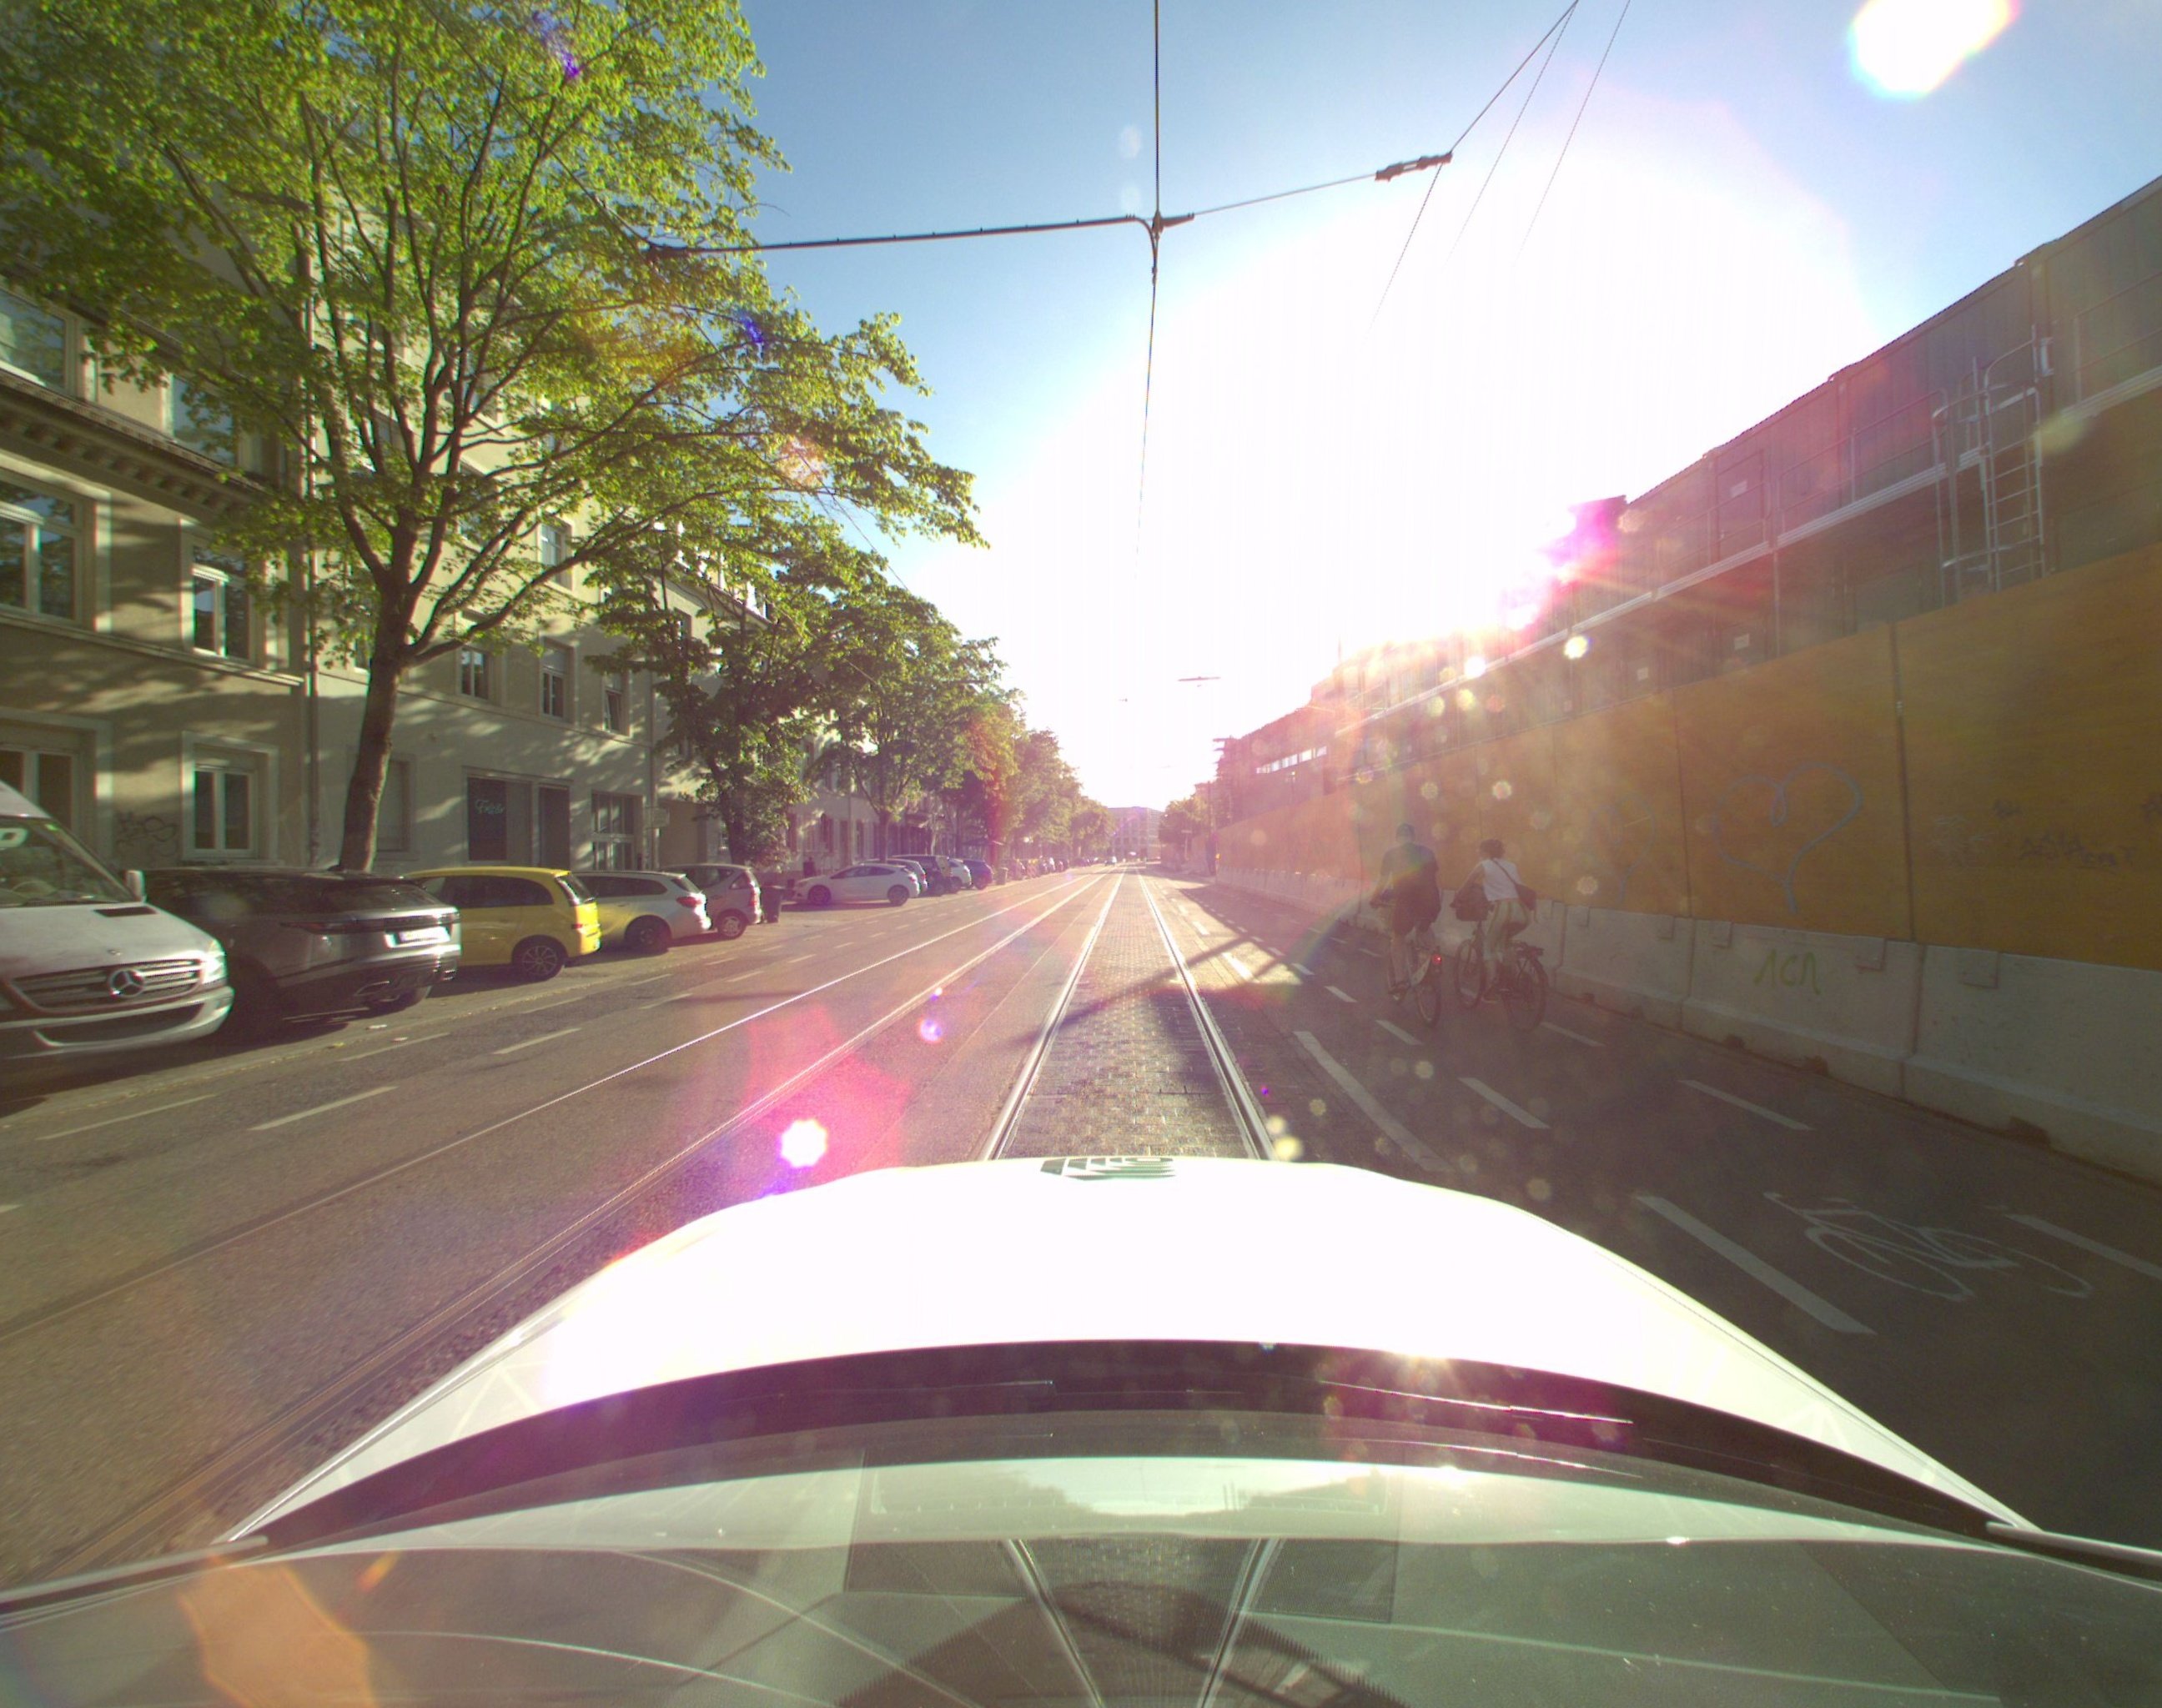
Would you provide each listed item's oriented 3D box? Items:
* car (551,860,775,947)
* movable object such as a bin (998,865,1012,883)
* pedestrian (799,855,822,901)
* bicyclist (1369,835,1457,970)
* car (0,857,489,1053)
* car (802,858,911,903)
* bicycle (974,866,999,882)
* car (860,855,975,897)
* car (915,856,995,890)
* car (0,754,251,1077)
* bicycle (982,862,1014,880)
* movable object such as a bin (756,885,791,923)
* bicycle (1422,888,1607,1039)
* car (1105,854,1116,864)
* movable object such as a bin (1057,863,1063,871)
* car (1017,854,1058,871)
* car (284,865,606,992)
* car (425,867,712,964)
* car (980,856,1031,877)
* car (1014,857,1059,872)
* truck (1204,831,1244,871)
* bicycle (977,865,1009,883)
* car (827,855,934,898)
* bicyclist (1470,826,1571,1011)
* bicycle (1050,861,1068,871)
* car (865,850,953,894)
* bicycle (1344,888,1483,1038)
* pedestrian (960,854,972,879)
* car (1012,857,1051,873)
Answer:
[{"bbox_3d":[-8.855,0.999,17.606,3.993,1.676,1.694,-1,0,-15],"label":"car"},{"bbox_3d":[-4.709,1.260,50.531,0.680,1.078,0.711,2,0,5],"label":"movable object such as a bin"},{"bbox_3d":[-11.020,0.962,33.191,0.640,1.838,0.625,-2,0,5],"label":"pedestrian"},{"bbox_3d":[3.168,0.452,7.791,0.649,1.238,0.354,-2,0,1],"label":"bicyclist"},{"bbox_3d":[-9.426,0.953,8.543,4.811,1.724,2.164,-1,0,1],"label":"car"},{"bbox_3d":[-8.084,0.946,29.385,3.644,1.530,1.876,1,-1,-17],"label":"car"},{"bbox_3d":[-5.937,1.273,51.179,1.598,0.988,0.388,0,0,-8],"label":"bicycle"},{"bbox_3d":[-7.794,1.032,38.987,4.961,1.794,2.185,-1,0,-35],"label":"car"},{"bbox_3d":[-6.752,0.987,43.864,3.918,1.609,1.557,-2,0,-34],"label":"car"},{"bbox_3d":[-9.279,0.447,5.832,4.421,2.118,2.164,-1,0,1],"label":"car"},{"bbox_3d":[-5.509,1.120,54.172,1.993,1.087,0.568,3,0,5],"label":"bicycle"},{"bbox_3d":[-8.017,1.297,21.263,0.619,0.945,0.670,-2,0,2],"label":"movable object such as a bin"},{"bbox_3d":[4.047,0.949,7.841,0.555,1.127,2.276,-2,0,1],"label":"bicycle"},{"bbox_3d":[5.559,0.951,153.828,1.920,1.629,4.252,-5,1,3],"label":"car"},{"bbox_3d":[-2.351,1.443,90.502,0.576,0.913,0.573,0,0,-13],"label":"movable object such as a bin"},{"bbox_3d":[-4.507,0.904,84.723,4.089,1.678,1.841,1,0,1],"label":"car"},{"bbox_3d":[-8.843,0.997,11.671,3.382,1.553,1.372,2,0,-28],"label":"car"},{"bbox_3d":[-9.083,1.039,14.862,4.181,1.552,1.687,1,-1,-27],"label":"car"},{"bbox_3d":[-5.856,0.964,63.262,3.628,1.553,1.656,0,1,-23],"label":"car"},{"bbox_3d":[-4.478,1.021,81.251,4.122,1.512,1.827,0,0,-23],"label":"car"},{"bbox_3d":[11.498,-0.209,65.897,2.508,2.909,5.514,-4,0,5],"label":"truck"},{"bbox_3d":[-5.683,1.301,52.850,1.958,1.079,0.569,1,0,5],"label":"bicycle"},{"bbox_3d":[-8.276,0.904,33.663,4.008,1.656,1.795,1,0,-27],"label":"car"},{"bbox_3d":[4.023,0.570,7.481,0.554,1.613,0.576,-2,0,1],"label":"bicyclist"},{"bbox_3d":[-2.498,1.366,91.158,1.969,1.144,0.490,0,-1,-15],"label":"bicycle"},{"bbox_3d":[-7.625,0.834,36.180,3.456,1.843,1.716,1,-4,-31],"label":"car"},{"bbox_3d":[3.158,0.965,7.984,0.664,1.154,2.280,0,0,6],"label":"bicycle"},{"bbox_3d":[-9.087,0.979,64.330,0.728,2.013,0.557,-2,0,4],"label":"pedestrian"},{"bbox_3d":[-4.780,1.046,78.359,3.379,1.493,1.600,0,0,-25],"label":"car"}]
